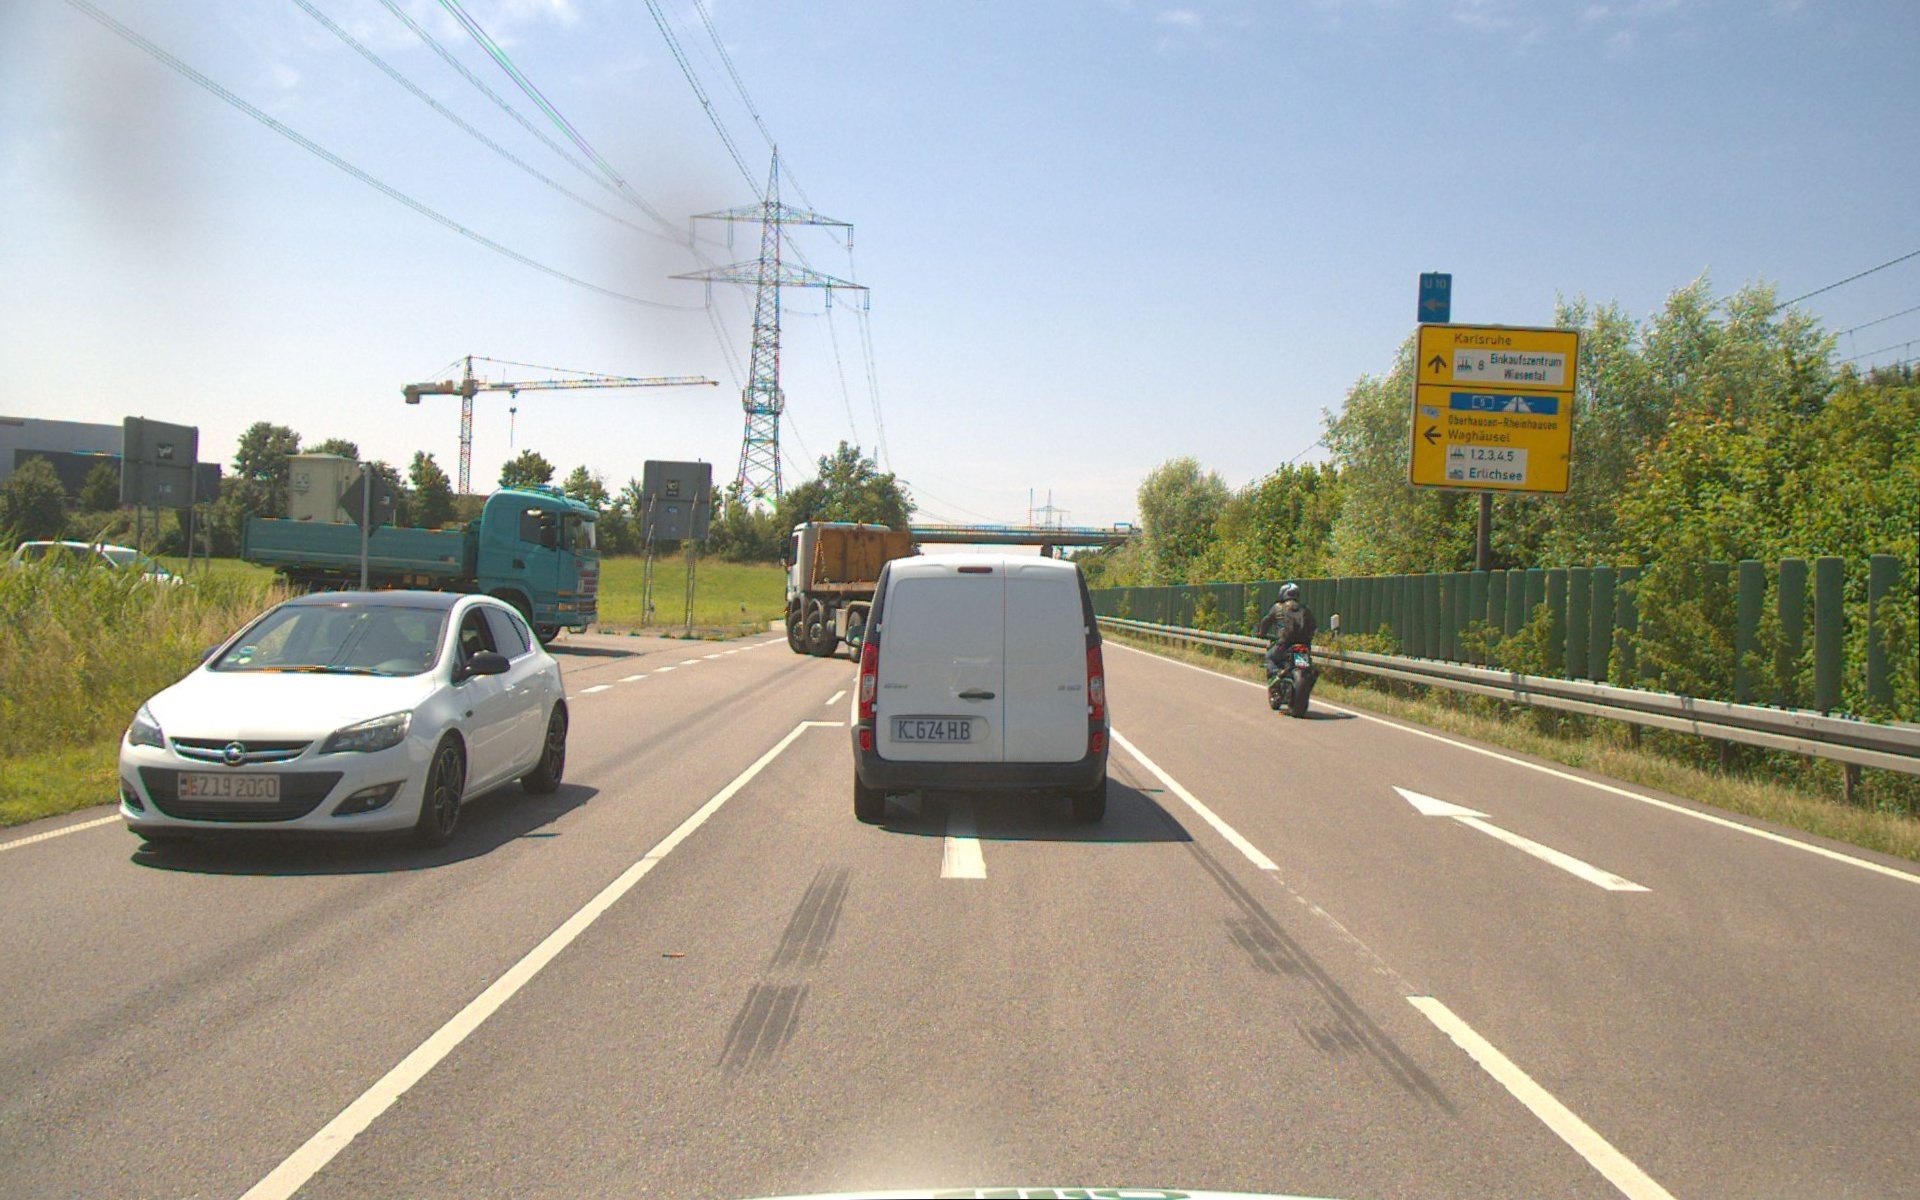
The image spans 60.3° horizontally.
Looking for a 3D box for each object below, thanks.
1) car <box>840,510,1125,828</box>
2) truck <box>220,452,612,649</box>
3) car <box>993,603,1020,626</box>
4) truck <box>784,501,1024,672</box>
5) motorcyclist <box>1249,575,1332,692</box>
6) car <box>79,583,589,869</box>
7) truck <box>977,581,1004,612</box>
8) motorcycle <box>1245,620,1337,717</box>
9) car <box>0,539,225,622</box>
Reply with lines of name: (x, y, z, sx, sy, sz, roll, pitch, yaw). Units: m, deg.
car: (0.135, 0.435, 12.550, 1.789, 2.005, 4.000, 1, 0, 0)
truck: (-12.077, -1.081, 37.115, 7.741, 3.799, 2.499, 4, 0, 2)
car: (3.380, 1.016, 120.179, 1.810, 1.601, 4.000, 1, 0, 0)
truck: (-1.568, -0.349, 37.525, 2.777, 3.345, 9.650, 1, 1, -18)
motorcyclist: (4.369, 0.429, 21.927, 0.871, 1.502, 1.002, 1, 0, -1)
car: (-3.779, 0.654, 10.857, 1.689, 1.466, 4.249, 2, 0, 0)
truck: (2.828, -0.349, 155.048, 2.326, 2.736, 8.009, 2, 0, 0)
motorcycle: (4.368, 0.879, 21.924, 0.774, 1.178, 1.901, 2, 0, -1)
car: (-19.255, -0.444, 37.462, 4.445, 1.640, 1.969, 3, 0, 14)
